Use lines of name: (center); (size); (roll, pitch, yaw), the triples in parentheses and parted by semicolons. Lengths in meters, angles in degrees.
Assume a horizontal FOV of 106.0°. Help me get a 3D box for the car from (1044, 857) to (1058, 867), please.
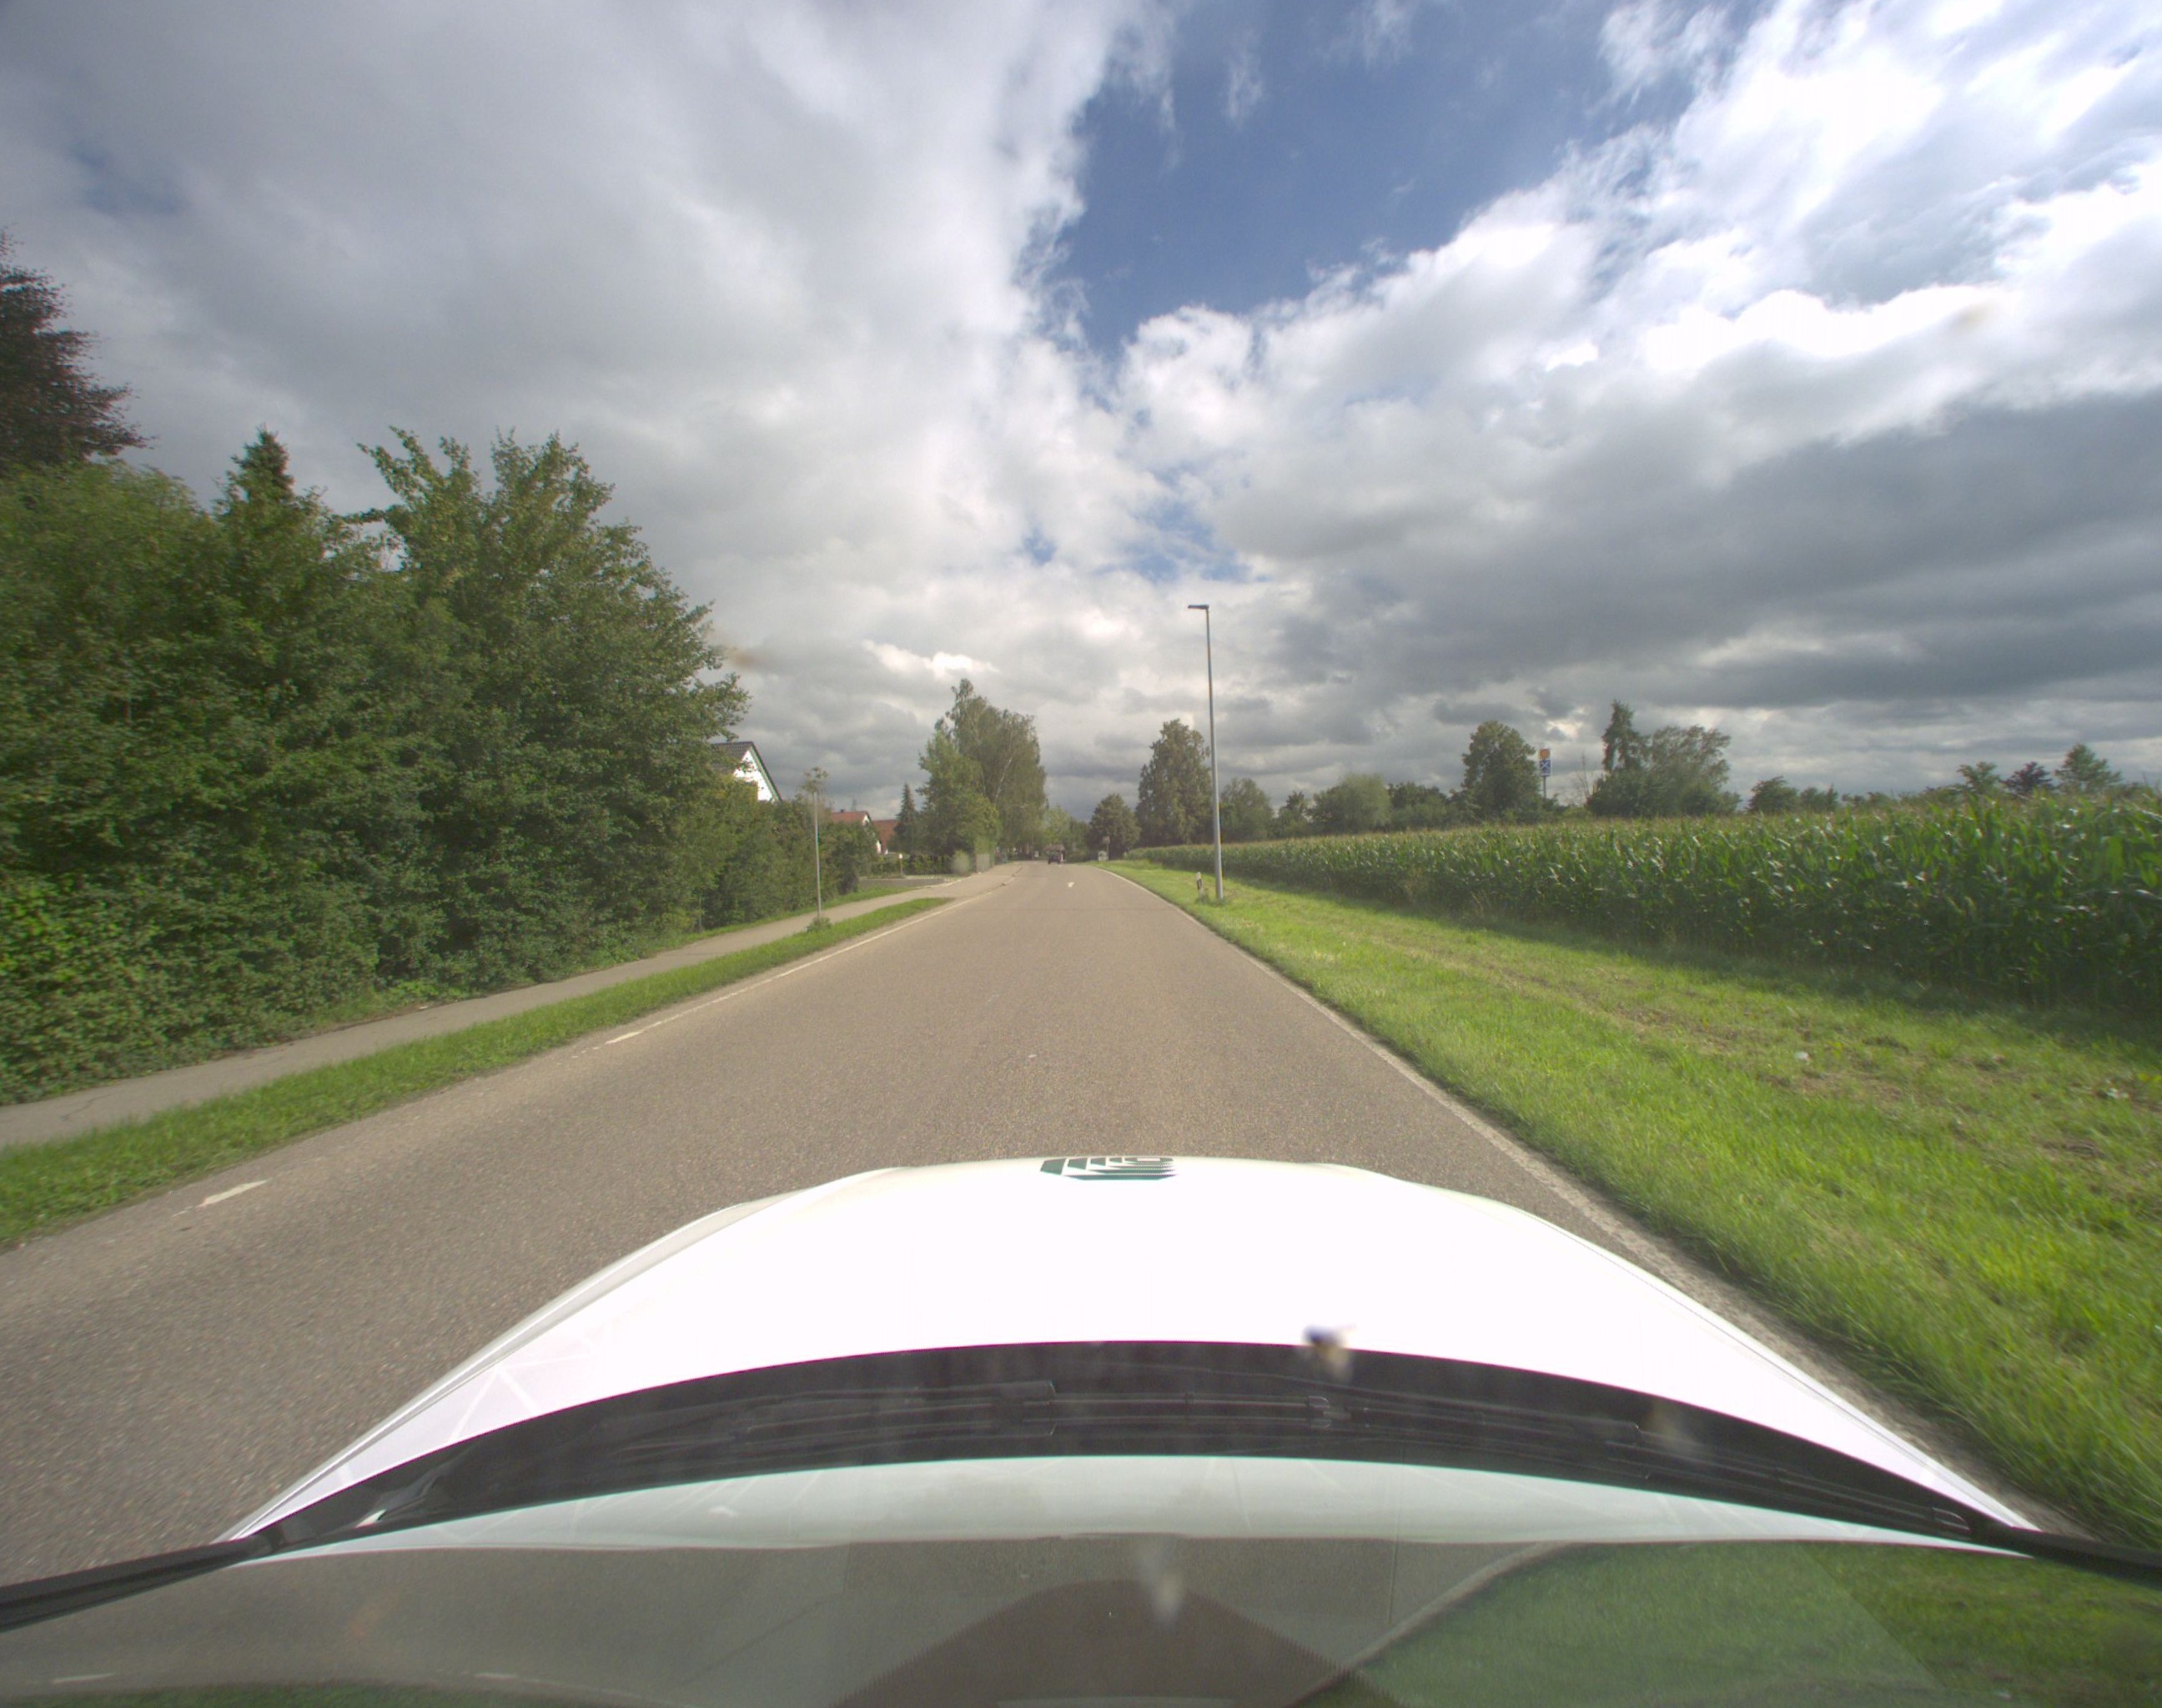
car: (-4.803, 1.265, 129.515); (1.990, 1.585, 3.994); (0, -1, -4)
